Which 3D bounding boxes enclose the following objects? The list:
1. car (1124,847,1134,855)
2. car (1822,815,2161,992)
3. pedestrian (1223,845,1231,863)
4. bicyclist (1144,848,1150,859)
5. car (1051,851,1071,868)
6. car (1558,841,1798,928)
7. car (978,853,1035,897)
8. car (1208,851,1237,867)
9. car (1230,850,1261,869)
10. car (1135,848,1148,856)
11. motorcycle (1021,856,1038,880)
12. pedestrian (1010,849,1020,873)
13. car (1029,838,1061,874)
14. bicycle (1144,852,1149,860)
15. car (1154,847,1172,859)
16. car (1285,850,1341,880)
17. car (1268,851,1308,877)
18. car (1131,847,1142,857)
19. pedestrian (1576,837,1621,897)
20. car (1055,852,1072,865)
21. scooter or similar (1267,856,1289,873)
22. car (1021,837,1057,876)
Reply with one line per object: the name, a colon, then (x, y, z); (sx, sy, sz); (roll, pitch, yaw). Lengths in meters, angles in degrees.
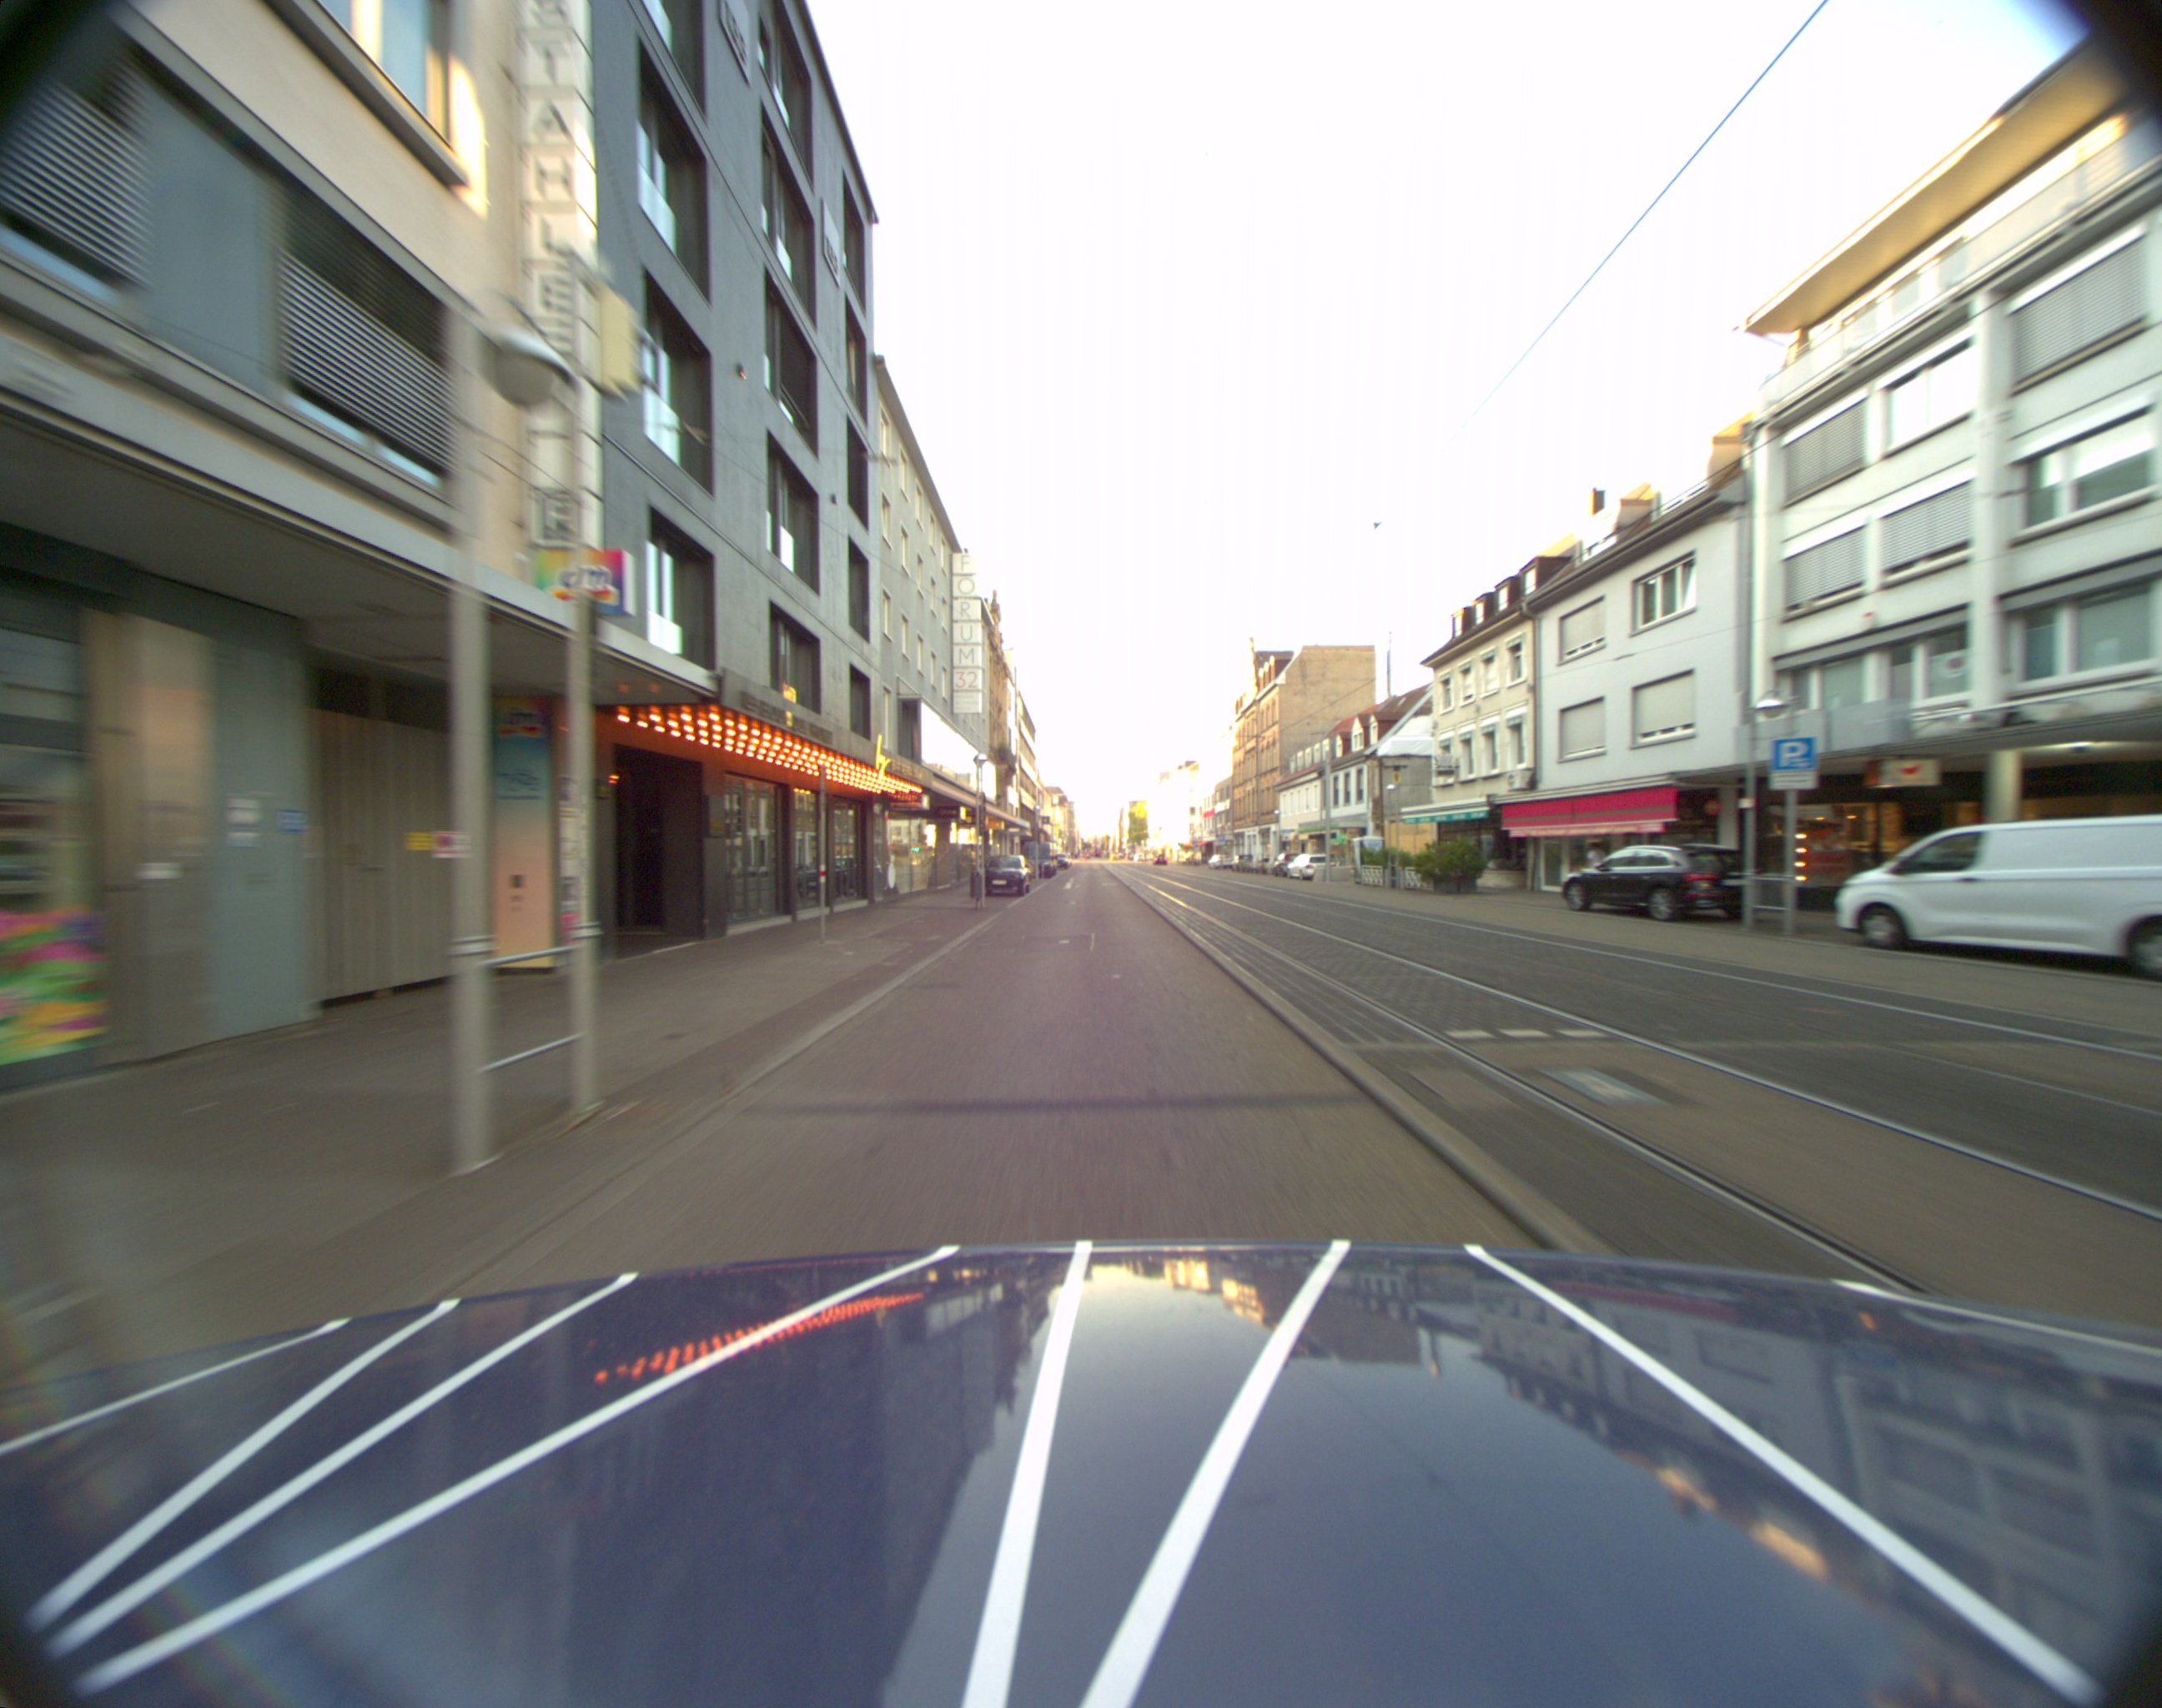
car: (11.323, -0.687, 179.071); (1.998, 1.685, 3.999); (-2, 1, 0)
car: (13.287, 0.520, 10.046); (1.969, 2.002, 5.099); (-2, 1, 0)
pedestrian: (16.593, 0.044, 86.262); (0.748, 2.002, 1.049); (-2, 1, 5)
bicyclist: (10.658, -0.127, 123.167); (0.882, 1.795, 0.900); (-2, 1, 2)
car: (-2.137, 0.576, 81.113); (1.998, 1.663, 3.876); (-2, 1, 0)
car: (13.520, 0.591, 17.663); (1.998, 1.687, 4.588); (-2, 1, 1)
car: (-2.825, 0.774, 29.517); (1.744, 1.532, 3.965); (-1, 1, 0)
car: (14.360, 0.505, 77.458); (1.999, 1.412, 4.402); (-2, 1, -1)
car: (14.073, 0.432, 65.247); (1.846, 1.484, 3.815); (-2, 1, 1)
car: (11.760, -0.337, 147.697); (1.998, 1.434, 3.999); (-2, 1, 0)
motorcycle: (-3.049, 0.797, 44.928); (0.785, 1.396, 2.637); (1, 0, 0)
pedestrian: (-5.012, 0.511, 57.704); (0.743, 1.746, 0.789); (2, 1, -3)
car: (-2.722, 0.123, 58.642); (1.998, 2.559, 5.604); (-2, 1, 1)
bicycle: (10.637, 0.317, 123.260); (0.493, 1.183, 2.265); (-2, 1, 0)
car: (11.180, -0.159, 104.193); (1.998, 1.554, 3.999); (-2, 1, 0)
car: (13.542, 0.619, 44.634); (1.896, 1.547, 4.622); (-2, 1, 1)
car: (13.480, 0.608, 49.694); (1.660, 1.562, 3.470); (-2, 1, 1)
car: (11.850, -0.461, 162.359); (1.998, 1.830, 3.999); (-2, 2, 0)
pedestrian: (15.961, 0.383, 23.447); (0.819, 1.772, 0.818); (-2, 1, 1)
car: (-2.138, 0.537, 94.135); (1.999, 1.538, 3.876); (-2, 0, -1)
scooter or similar: (13.672, 0.735, 52.694); (1.365, 1.161, 0.311); (-2, 1, 3)
car: (-2.804, 0.164, 51.856); (2.080, 2.434, 5.603); (-2, 1, 0)
